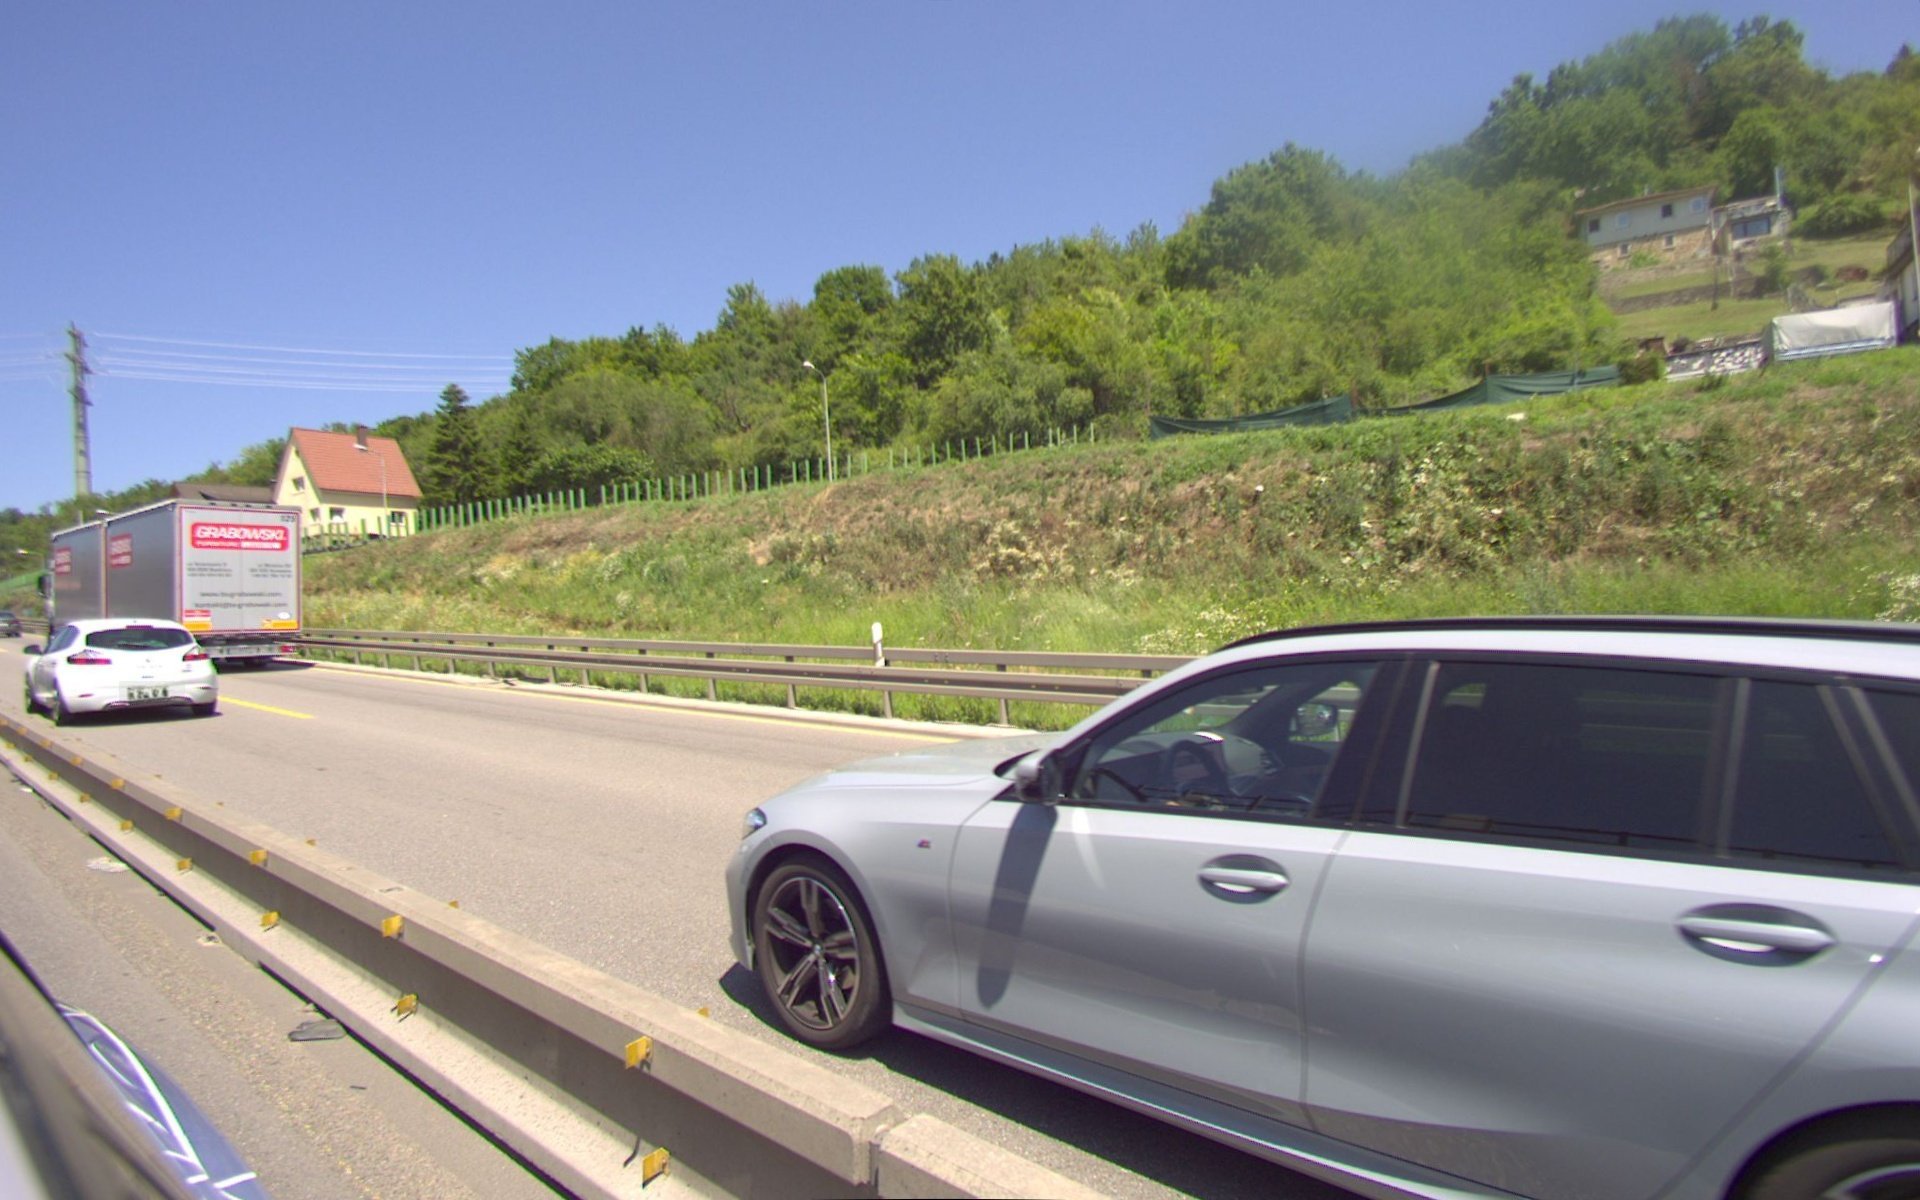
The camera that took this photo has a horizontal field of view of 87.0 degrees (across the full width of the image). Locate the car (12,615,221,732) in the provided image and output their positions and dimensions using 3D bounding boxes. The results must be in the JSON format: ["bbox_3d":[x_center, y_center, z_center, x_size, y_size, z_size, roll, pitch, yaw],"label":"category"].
[{"bbox_3d":[-12.632,0.994,15.084,3.998,1.475,1.783,-1,-1,41],"label":"car"}]

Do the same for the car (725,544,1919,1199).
[{"bbox_3d":[1.505,0.653,2.718,4.627,1.444,1.810,-1,-1,41],"label":"car"}]

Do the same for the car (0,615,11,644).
[{"bbox_3d":[-53.430,1.600,55.218,5.299,1.519,1.972,0,0,42],"label":"car"}]

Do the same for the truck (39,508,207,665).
[{"bbox_3d":[-27.347,-0.328,32.820,10.380,4.430,2.593,-1,0,41],"label":"truck"}]

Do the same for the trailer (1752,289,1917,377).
[{"bbox_3d":[23.425,-7.119,27.258,3.026,1.527,1.888,0,0,30],"label":"trailer"}]

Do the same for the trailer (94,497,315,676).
[{"bbox_3d":[-20.073,-0.258,26.639,8.702,4.019,2.899,-1,0,41],"label":"trailer"}]
